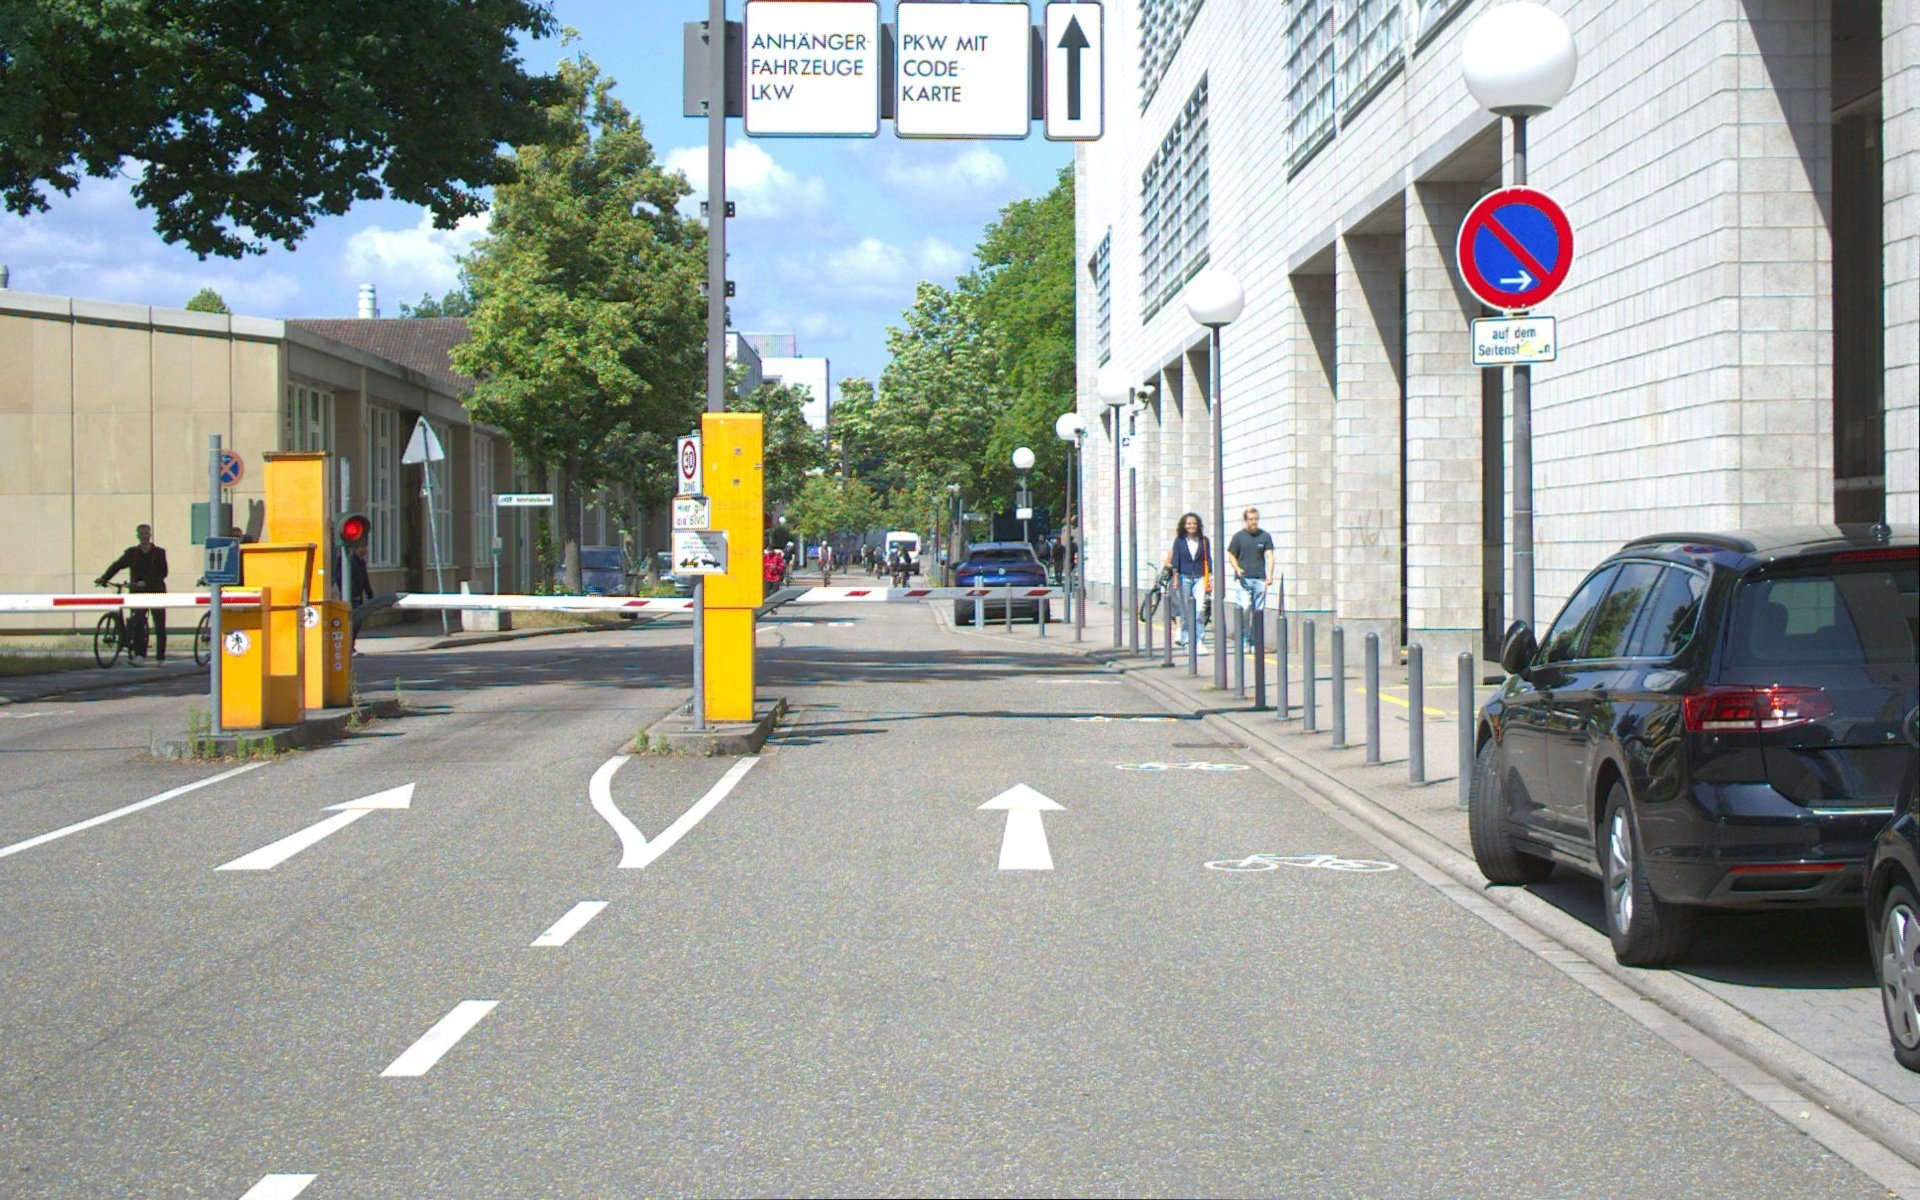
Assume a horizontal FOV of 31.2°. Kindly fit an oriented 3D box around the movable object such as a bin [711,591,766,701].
[{"bbox_3d":[-1.828,0.377,28.402,0.416,0.902,0.353,0,1,3],"label":"movable object such as a bin"}]

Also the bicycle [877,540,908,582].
[{"bbox_3d":[-2.255,-1.283,114.638,0.987,1.311,2.964,-1,-1,-1],"label":"bicycle"}]

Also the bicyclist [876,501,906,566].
[{"bbox_3d":[-2.301,-2.204,114.607,0.987,2.125,1.036,-1,-1,-1],"label":"bicyclist"}]

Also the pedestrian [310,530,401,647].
[{"bbox_3d":[-8.457,-0.162,48.121,0.886,1.627,0.895,0,0,33],"label":"pedestrian"}]

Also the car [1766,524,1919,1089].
[{"bbox_3d":[3.357,0.550,8.573,1.614,1.491,4.007,0,1,-2],"label":"car"}]

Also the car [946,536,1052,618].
[{"bbox_3d":[0.728,-0.471,67.365,1.993,1.540,4.212,0,1,0],"label":"car"}]

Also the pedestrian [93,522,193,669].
[{"bbox_3d":[-10.249,-0.064,43.155,1.056,1.809,0.806,-1,1,-2],"label":"pedestrian"}]

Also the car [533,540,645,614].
[{"bbox_3d":[-7.992,-0.525,74.463,1.993,1.540,4.212,0,1,0],"label":"car"}]

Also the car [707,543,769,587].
[{"bbox_3d":[-8.013,-1.280,124.619,1.993,1.540,4.212,0,1,0],"label":"car"}]

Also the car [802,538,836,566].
[{"bbox_3d":[-9.392,-3.166,229.235,1.993,1.714,4.000,-1,-1,2],"label":"car"}]

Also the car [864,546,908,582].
[{"bbox_3d":[-3.737,-1.815,174.707,1.993,1.714,4.000,-1,-1,2],"label":"car"}]

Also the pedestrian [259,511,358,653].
[{"bbox_3d":[-8.944,-0.249,47.214,0.886,1.919,1.004,0,0,33],"label":"pedestrian"}]

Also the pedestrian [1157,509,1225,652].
[{"bbox_3d":[2.924,-0.256,43.563,0.694,1.774,1.086,-2,1,-2],"label":"pedestrian"}]

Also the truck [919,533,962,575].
[{"bbox_3d":[-0.981,-2.295,172.297,1.993,2.007,4.000,-1,-1,-2],"label":"truck"}]

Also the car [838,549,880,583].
[{"bbox_3d":[-5.443,-1.843,185.642,1.993,1.714,4.000,-1,-1,2],"label":"car"}]

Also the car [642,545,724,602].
[{"bbox_3d":[-7.758,-0.767,96.484,1.993,1.540,4.212,0,1,0],"label":"car"}]

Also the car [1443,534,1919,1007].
[{"bbox_3d":[3.103,0.486,12.909,1.866,1.459,4.520,0,1,-1],"label":"car"}]

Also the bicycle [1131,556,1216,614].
[{"bbox_3d":[4.000,-0.283,64.312,1.544,1.063,0.647,-1,1,7],"label":"bicycle"}]

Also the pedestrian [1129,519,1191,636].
[{"bbox_3d":[2.851,-0.327,48.972,0.741,1.627,0.888,-2,1,-2],"label":"pedestrian"}]

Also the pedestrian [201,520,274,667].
[{"bbox_3d":[-9.065,-0.093,43.148,0.705,1.803,1.001,-1,1,-2],"label":"pedestrian"}]

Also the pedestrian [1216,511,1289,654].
[{"bbox_3d":[3.708,-0.229,43.636,0.767,1.774,0.911,-2,1,-2],"label":"pedestrian"}]

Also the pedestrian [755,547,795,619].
[{"bbox_3d":[-4.266,-0.391,79.311,0.894,1.627,0.888,0,0,-3],"label":"pedestrian"}]
